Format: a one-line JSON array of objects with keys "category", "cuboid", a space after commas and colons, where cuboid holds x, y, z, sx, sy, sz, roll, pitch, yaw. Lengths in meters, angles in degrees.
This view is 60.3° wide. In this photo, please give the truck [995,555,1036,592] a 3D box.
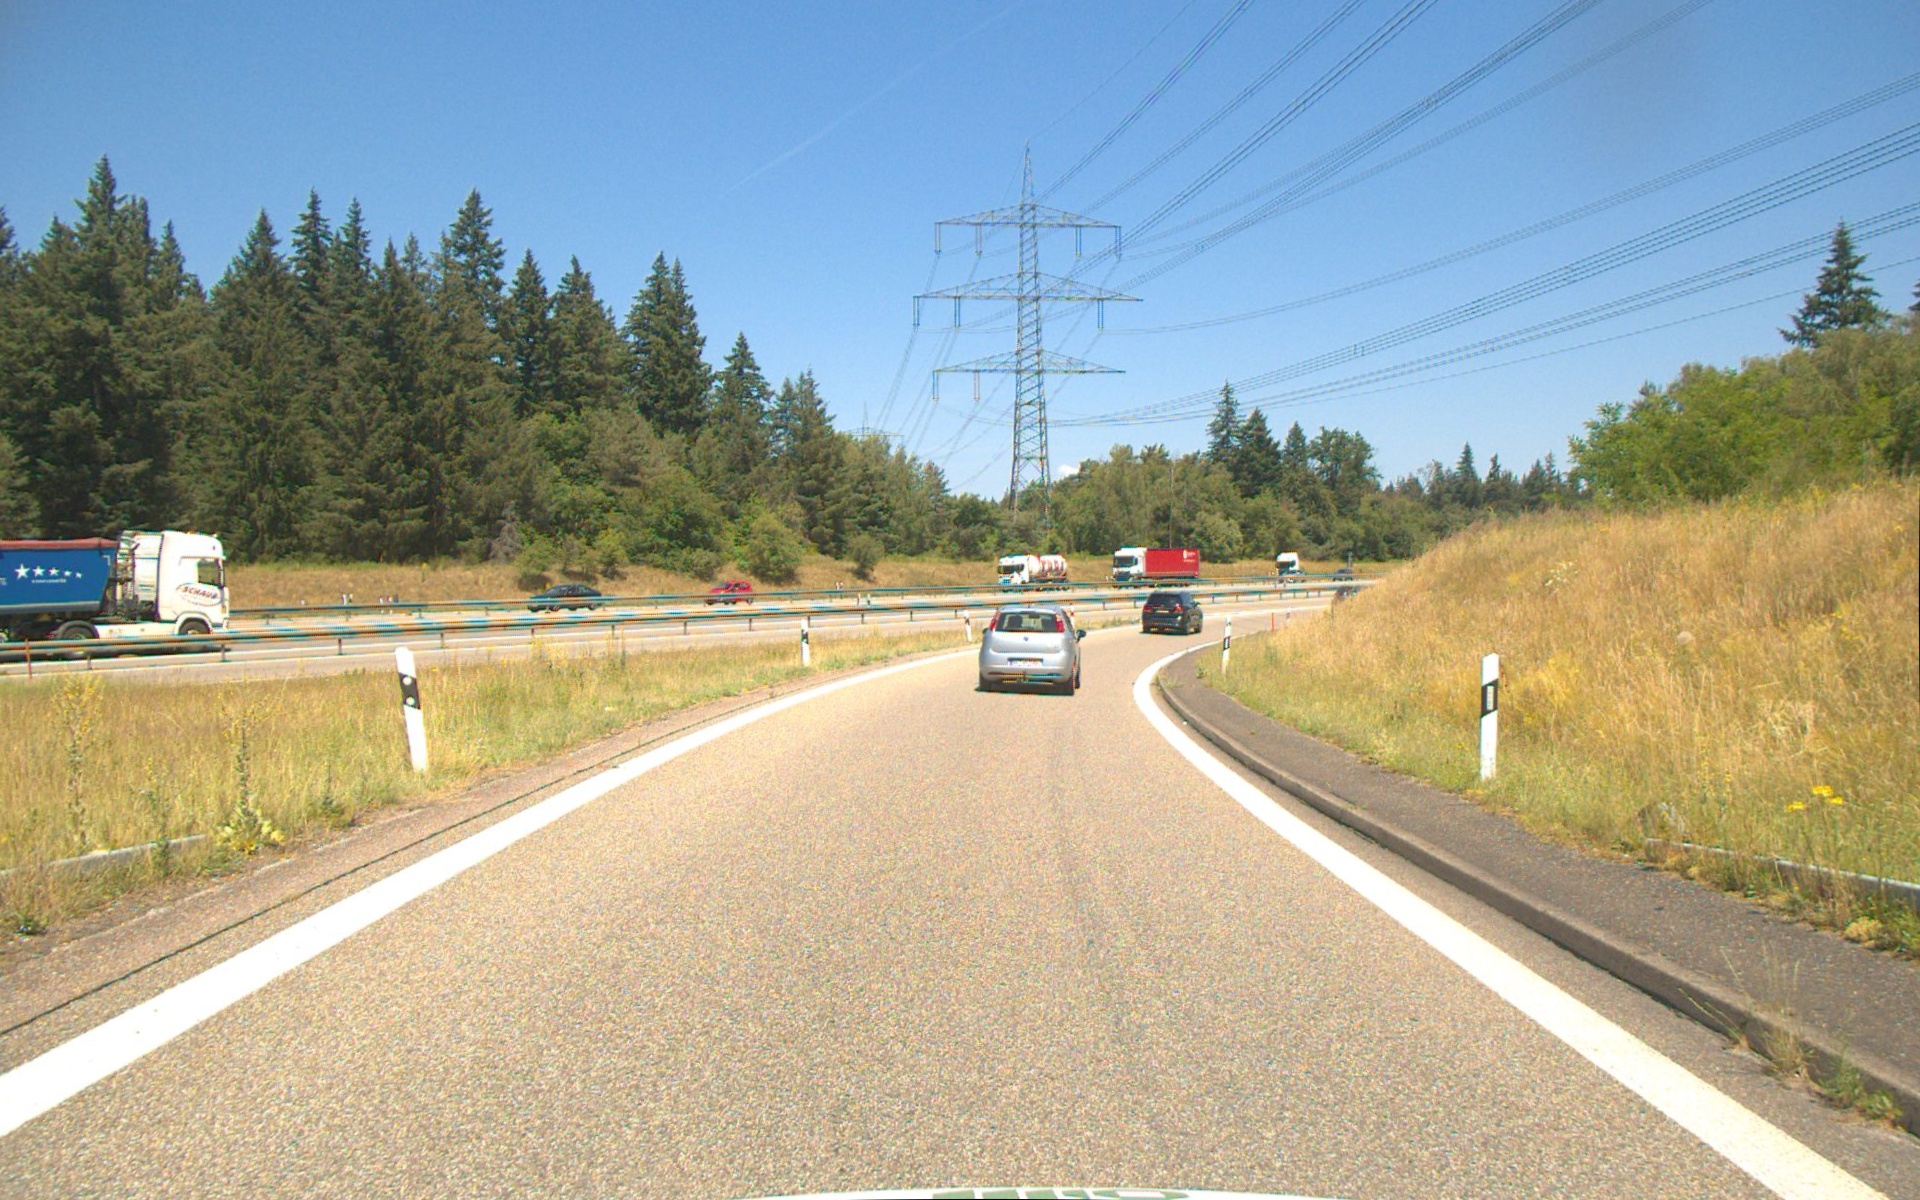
[{"category": "truck", "cuboid": [5.897, -2.891, 176.640, 2.719, 3.863, 3.989, 1, 3, 33]}]

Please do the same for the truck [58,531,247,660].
[{"category": "truck", "cuboid": [-25.583, -0.250, 52.545, 2.706, 3.873, 4.612, 1, 3, 31]}]

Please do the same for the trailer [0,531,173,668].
[{"category": "trailer", "cuboid": [-28.278, -0.027, 48.069, 2.720, 3.873, 9.864, 1, 3, 31]}]

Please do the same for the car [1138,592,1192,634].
[{"category": "car", "cuboid": [8.532, 0.521, 68.622, 1.670, 1.705, 3.400, 1, 0, 17]}]

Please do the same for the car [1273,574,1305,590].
[{"category": "car", "cuboid": [36.705, -1.969, 184.310, 1.742, 1.713, 4.808, 1, 1, 35]}]

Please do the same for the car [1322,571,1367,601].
[{"category": "car", "cuboid": [24.027, -0.899, 103.205, 1.844, 1.713, 3.997, -2, 0, 25]}]

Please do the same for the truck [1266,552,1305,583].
[{"category": "truck", "cuboid": [46.451, -4.597, 235.617, 2.810, 4.421, 7.508, 1, 1, 34]}]

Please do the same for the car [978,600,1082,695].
[{"category": "car", "cuboid": [1.284, 0.788, 29.121, 1.670, 1.507, 3.399, 2, 0, 4]}]

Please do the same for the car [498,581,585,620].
[{"category": "car", "cuboid": [-22.711, 0.009, 89.879, 1.958, 1.880, 4.347, 0, 3, 33]}]

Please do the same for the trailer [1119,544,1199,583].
[{"category": "trailer", "cuboid": [21.005, -3.891, 173.417, 2.497, 3.863, 13.703, 1, 3, 33]}]

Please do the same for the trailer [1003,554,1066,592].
[{"category": "trailer", "cuboid": [8.171, -3.029, 180.109, 2.723, 3.863, 8.912, 1, 3, 33]}]

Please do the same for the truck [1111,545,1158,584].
[{"category": "truck", "cuboid": [17.782, -3.645, 168.463, 2.497, 3.863, 5.652, 1, 3, 33]}]
